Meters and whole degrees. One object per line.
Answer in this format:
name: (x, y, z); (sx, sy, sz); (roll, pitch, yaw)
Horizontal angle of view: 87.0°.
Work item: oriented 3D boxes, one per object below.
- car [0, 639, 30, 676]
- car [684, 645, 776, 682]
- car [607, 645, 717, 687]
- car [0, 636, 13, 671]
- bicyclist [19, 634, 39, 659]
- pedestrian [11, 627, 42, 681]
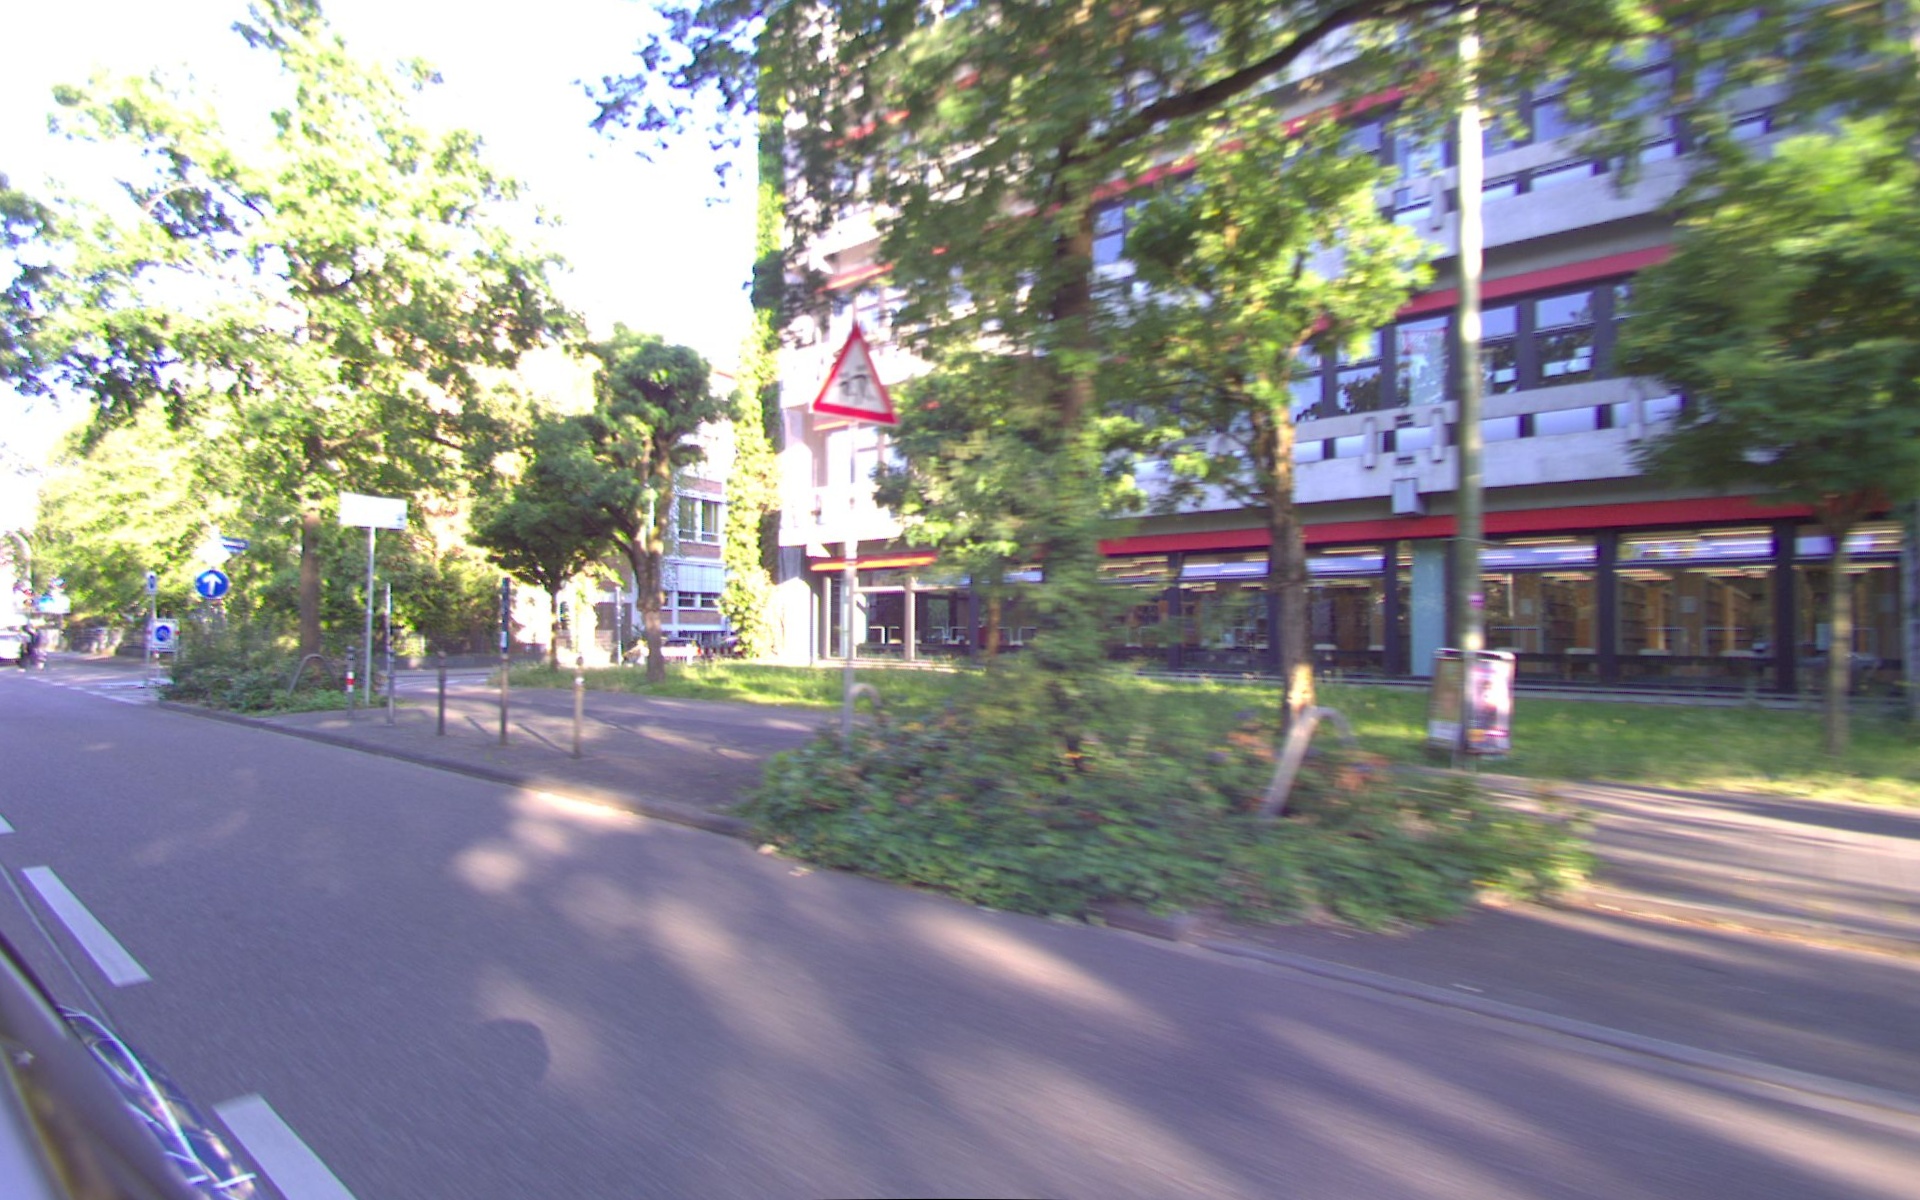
car: (-41.601, 2.470, 43.662); (4.106, 1.494, 1.753); (-2, -2, 41)
car: (-9.635, 2.663, 42.586); (1.770, 1.417, 3.608); (1, -2, 30)
car: (-11.448, 2.523, 39.128); (1.770, 1.460, 3.922); (1, -2, 30)
car: (-46.083, 2.513, 47.646); (4.106, 1.580, 1.753); (-2, -2, 41)
bicyclist: (-55.836, 2.772, 60.675); (1.059, 1.465, 0.742); (-2, -4, 42)
pedestrian: (-32.940, 1.898, 35.710); (0.673, 1.850, 0.773); (-3, -2, 44)
